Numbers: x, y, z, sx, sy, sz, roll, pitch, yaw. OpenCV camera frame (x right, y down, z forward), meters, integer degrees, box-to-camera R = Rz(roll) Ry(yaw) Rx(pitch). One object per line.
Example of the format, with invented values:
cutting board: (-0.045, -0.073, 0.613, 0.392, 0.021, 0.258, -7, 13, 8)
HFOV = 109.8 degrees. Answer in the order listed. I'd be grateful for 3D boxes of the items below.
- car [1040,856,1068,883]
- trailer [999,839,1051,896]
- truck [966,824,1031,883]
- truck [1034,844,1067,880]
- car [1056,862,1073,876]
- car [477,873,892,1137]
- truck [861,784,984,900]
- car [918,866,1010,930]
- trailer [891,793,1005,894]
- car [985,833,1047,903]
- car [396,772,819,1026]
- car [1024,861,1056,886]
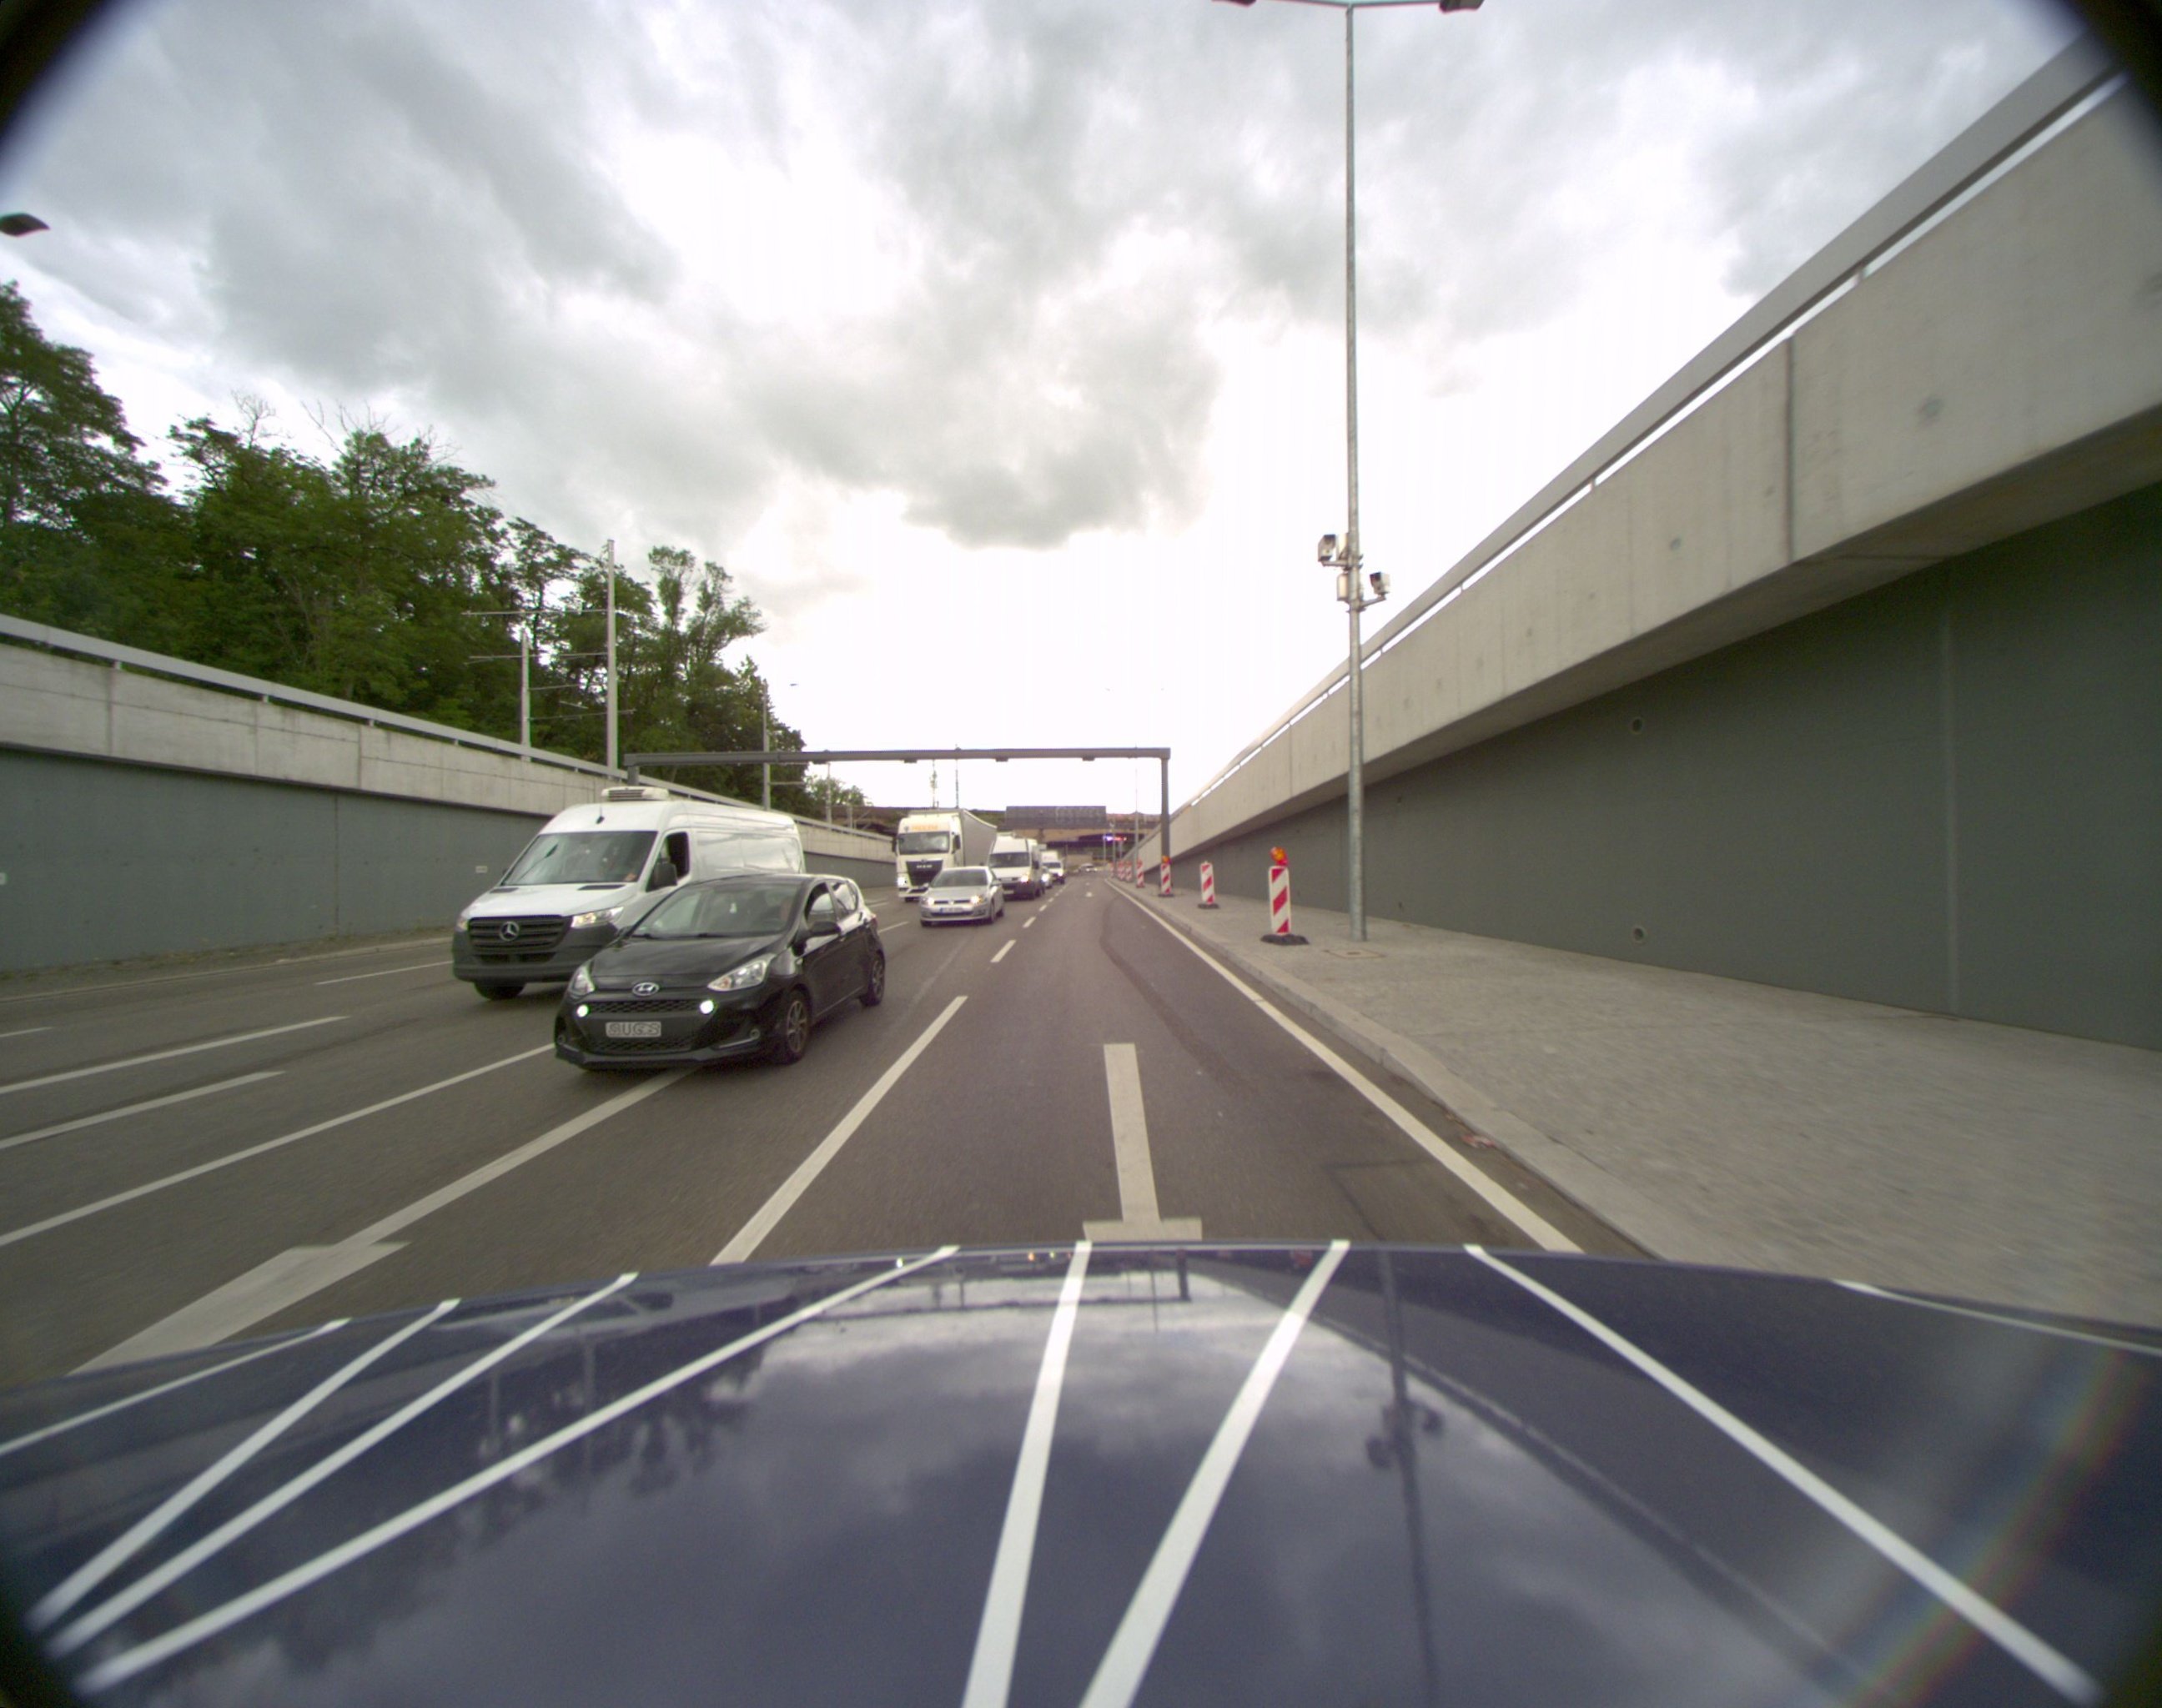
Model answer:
car: (-2.131, 1.225, 60.777, 1.999, 1.978, 5.199, -3, 0, 0)
trailer: (-2.671, 0.644, 37.289, 2.108, 2.623, 4.811, 0, -1, 1)
truck: (-6.412, -0.006, 61.066, 3.734, 4.117, 10.983, -3, 0, 0)
truck: (-3.551, 0.860, 85.883, 3.033, 3.566, 8.946, -5, 0, -5)
car: (-2.666, 2.338, 122.242, 2.000, 2.002, 4.409, -5, 0, -11)
car: (-3.048, 1.037, 6.812, 1.686, 1.536, 3.692, -2, 1, 1)
truck: (-7.019, -0.487, 35.141, 3.814, 4.604, 7.442, -3, 0, 1)
car: (-2.930, 1.065, 19.814, 1.768, 1.375, 4.038, -1, 1, -1)
trailer: (-6.926, -0.446, 42.118, 3.814, 4.604, 12.114, -3, 0, 1)
car: (-2.697, 0.620, 33.022, 2.063, 2.612, 5.943, -5, -1, -1)
car: (-6.528, 0.535, 12.108, 2.080, 2.756, 7.326, -2, 0, 0)
car: (-2.513, 1.162, 47.423, 1.720, 1.390, 4.347, -1, 1, 1)
